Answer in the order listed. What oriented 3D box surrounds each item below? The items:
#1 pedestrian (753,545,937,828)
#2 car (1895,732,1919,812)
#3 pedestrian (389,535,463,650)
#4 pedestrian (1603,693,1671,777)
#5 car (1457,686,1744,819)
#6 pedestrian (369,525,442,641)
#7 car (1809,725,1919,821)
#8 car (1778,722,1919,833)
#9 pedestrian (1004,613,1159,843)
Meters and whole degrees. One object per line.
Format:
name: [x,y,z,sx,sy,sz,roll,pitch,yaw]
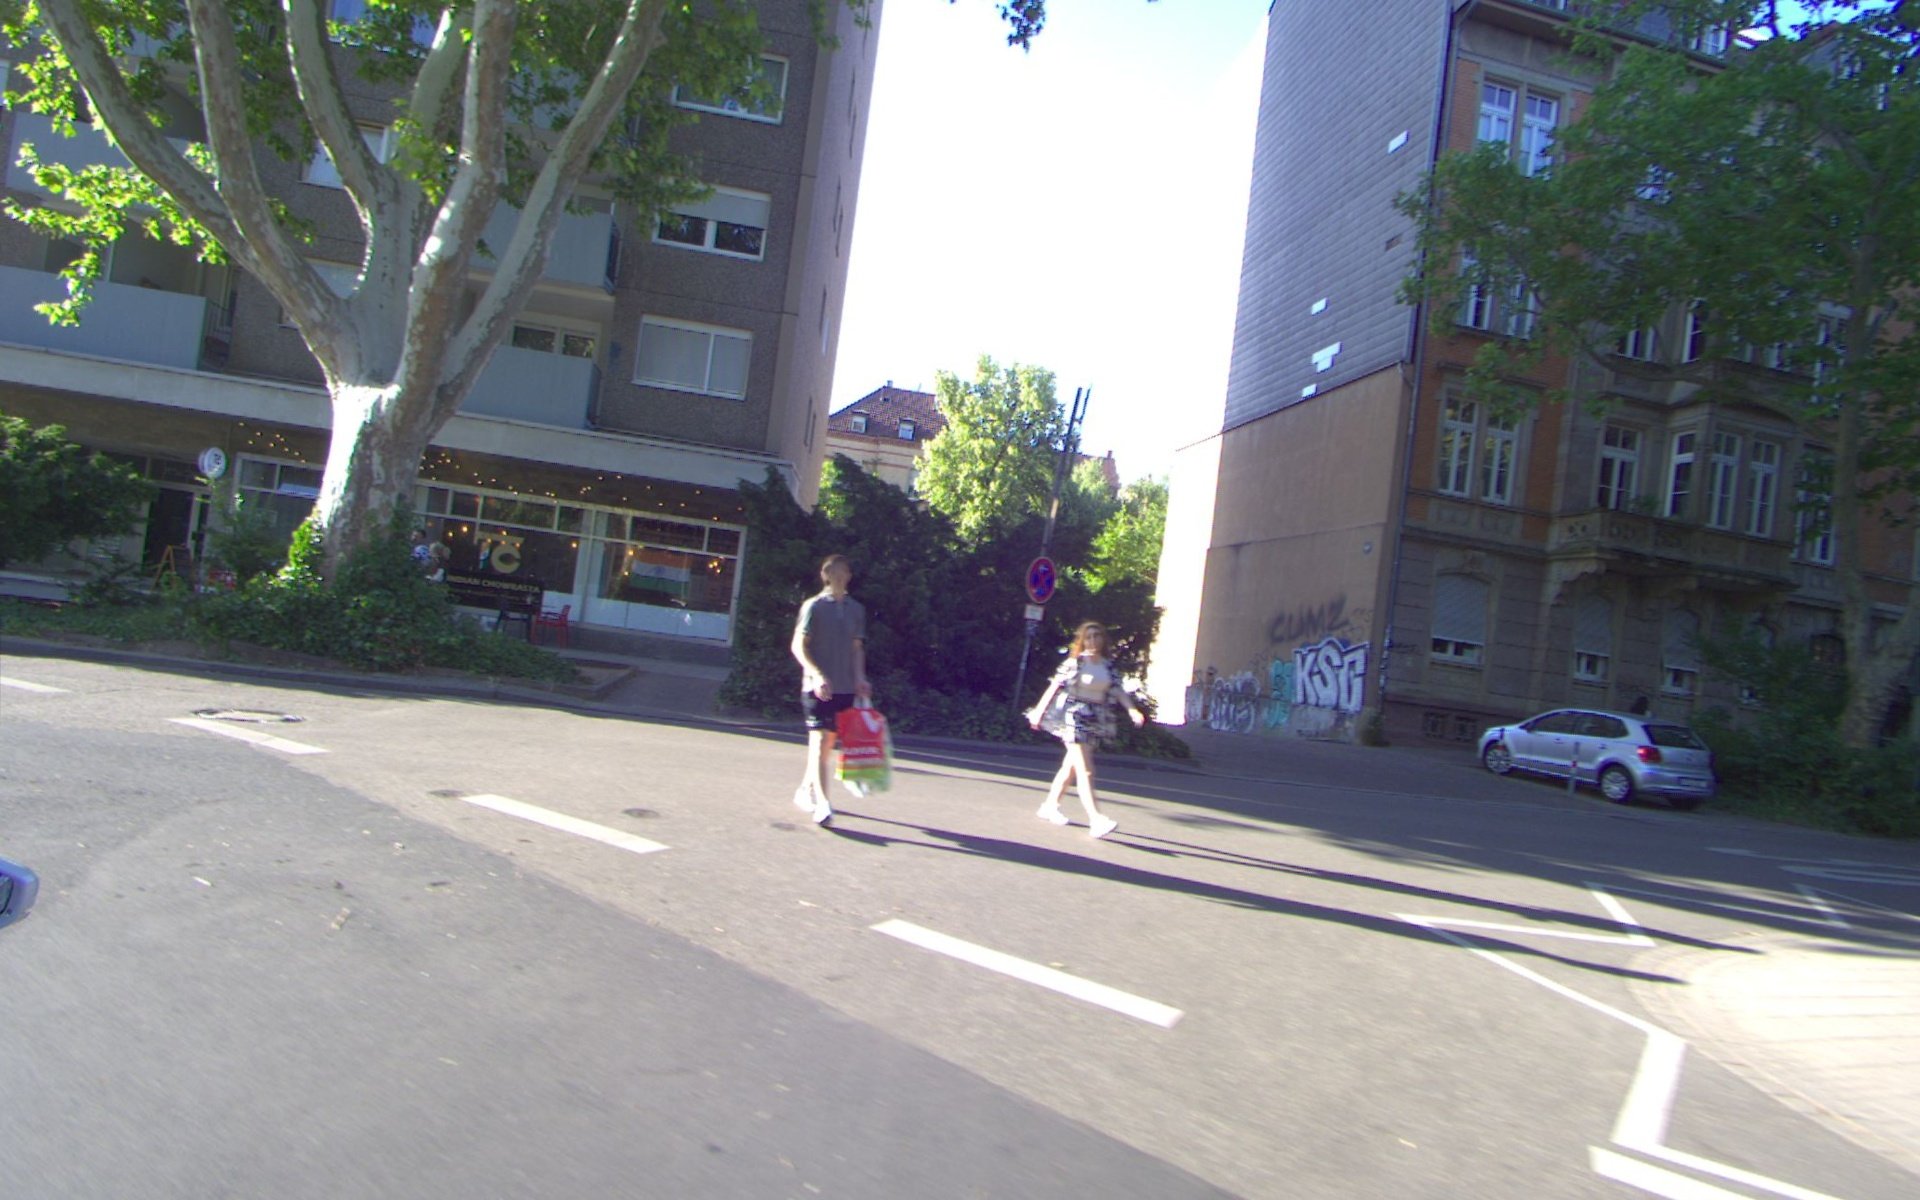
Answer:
pedestrian: [-0.796,0.586,7.008,0.706,1.802,0.811,7,-1,41]
car: [21.981,3.891,20.085,1.708,1.651,4.468,8,0,-16]
pedestrian: [-8.455,-0.111,15.951,0.633,1.712,0.686,7,0,-2]
pedestrian: [14.425,2.857,21.450,0.706,1.627,0.811,7,-1,-19]
car: [11.007,2.570,17.671,1.709,1.491,3.986,8,0,-16]
pedestrian: [-9.098,-0.266,16.538,0.624,1.794,0.686,7,0,-2]
car: [19.261,3.555,19.692,1.626,1.615,3.636,7,-1,-16]
car: [17.460,3.338,18.086,1.881,1.637,3.764,7,-1,-18]
pedestrian: [0.960,0.983,7.903,0.706,1.627,0.811,7,-1,41]
